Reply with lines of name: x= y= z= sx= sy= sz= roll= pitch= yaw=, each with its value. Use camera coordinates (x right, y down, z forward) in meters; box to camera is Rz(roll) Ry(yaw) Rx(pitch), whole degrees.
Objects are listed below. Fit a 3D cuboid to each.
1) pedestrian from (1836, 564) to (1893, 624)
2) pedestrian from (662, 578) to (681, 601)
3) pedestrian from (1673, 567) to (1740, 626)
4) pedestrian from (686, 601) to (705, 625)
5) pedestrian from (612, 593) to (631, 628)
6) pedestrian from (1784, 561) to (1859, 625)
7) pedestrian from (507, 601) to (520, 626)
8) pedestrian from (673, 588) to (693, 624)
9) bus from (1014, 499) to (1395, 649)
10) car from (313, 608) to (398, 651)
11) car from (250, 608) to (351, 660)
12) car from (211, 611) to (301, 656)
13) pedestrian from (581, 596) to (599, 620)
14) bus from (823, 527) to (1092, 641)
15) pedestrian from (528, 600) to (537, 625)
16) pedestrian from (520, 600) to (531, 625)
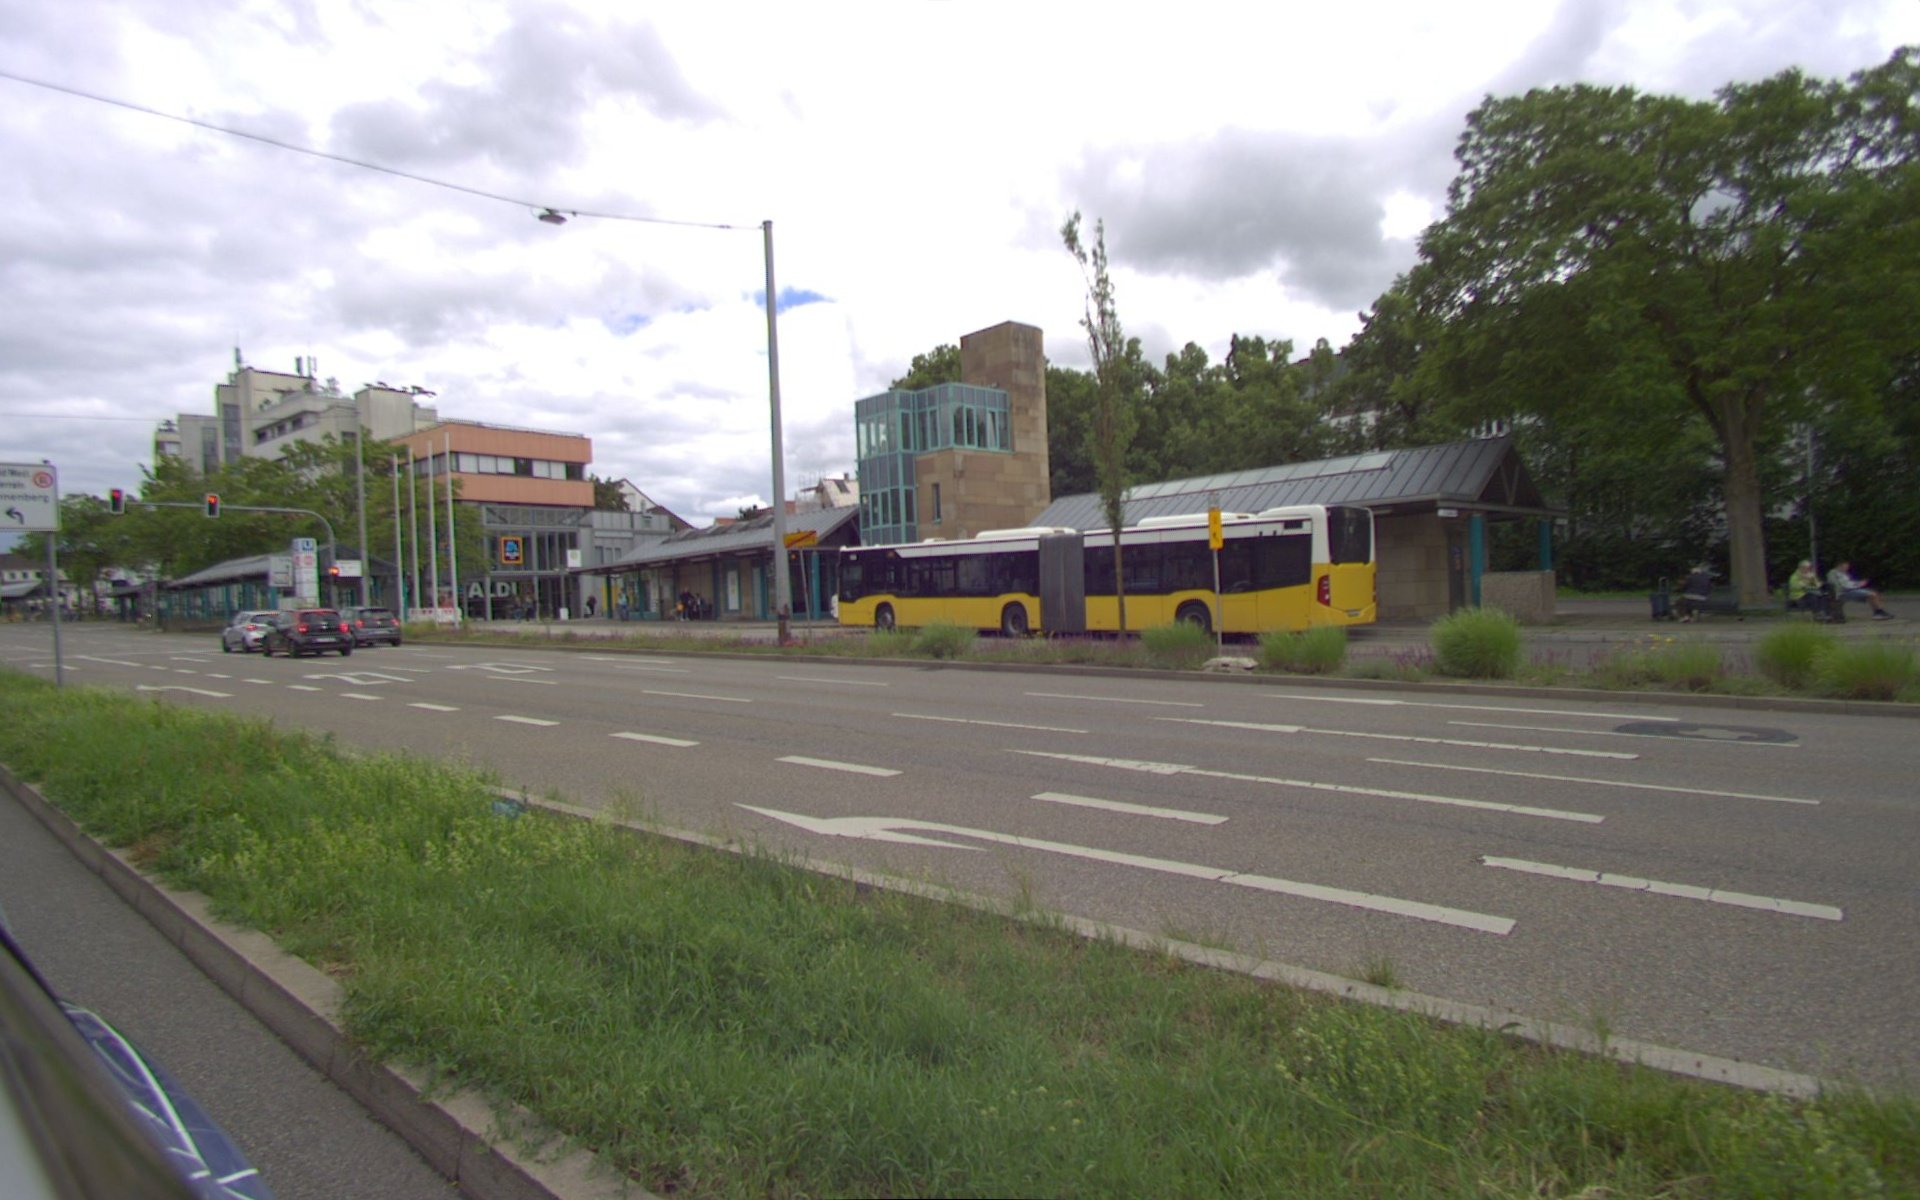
pedestrian: x=19.523 y=-0.132 z=21.867 sx=0.857 sy=1.264 sz=0.884 roll=-1 pitch=0 yaw=40
pedestrian: x=-14.053 y=-0.518 z=49.295 sx=0.658 sy=1.129 sz=0.612 roll=-1 pitch=0 yaw=44
pedestrian: x=16.564 y=-0.070 z=22.471 sx=0.886 sy=1.264 sz=0.855 roll=-1 pitch=0 yaw=11
pedestrian: x=-12.416 y=0.615 z=47.495 sx=0.658 sy=1.129 sz=0.612 roll=-1 pitch=0 yaw=44
pedestrian: x=-16.245 y=0.484 z=48.547 sx=0.658 sy=1.662 sz=0.612 roll=-1 pitch=0 yaw=44
pedestrian: x=18.053 y=-0.145 z=21.232 sx=0.887 sy=1.300 sz=0.854 roll=-1 pitch=0 yaw=16
pedestrian: x=-27.520 y=0.826 z=62.360 sx=0.522 sy=1.559 sz=0.755 roll=-2 pitch=0 yaw=-35
pedestrian: x=-13.168 y=0.289 z=48.121 sx=0.658 sy=1.662 sz=0.612 roll=-1 pitch=0 yaw=44
bus: x=5.719 y=-0.556 z=25.603 sx=2.776 sy=3.155 sz=9.311 roll=-4 pitch=2 yaw=-42
car: x=-23.008 y=1.097 z=38.476 sx=4.001 sy=1.519 sz=1.795 roll=-1 pitch=0 yaw=44
car: x=-20.900 y=1.026 z=32.044 sx=3.765 sy=1.519 sz=1.642 roll=-1 pitch=0 yaw=40
car: x=-25.286 y=1.197 z=36.293 sx=3.787 sy=1.476 sz=1.727 roll=-2 pitch=0 yaw=41
pedestrian: x=-22.701 y=0.484 z=62.092 sx=0.992 sy=1.472 sz=0.583 roll=-1 pitch=0 yaw=43
bus: x=-0.407 y=-0.426 z=32.264 sx=2.743 sy=3.155 sz=9.446 roll=-4 pitch=2 yaw=-43
pedestrian: x=-26.861 y=0.792 z=63.595 sx=0.378 sy=1.559 sz=0.485 roll=-2 pitch=0 yaw=-2
pedestrian: x=-26.932 y=0.772 z=62.745 sx=0.382 sy=1.559 sz=0.480 roll=-2 pitch=0 yaw=31
